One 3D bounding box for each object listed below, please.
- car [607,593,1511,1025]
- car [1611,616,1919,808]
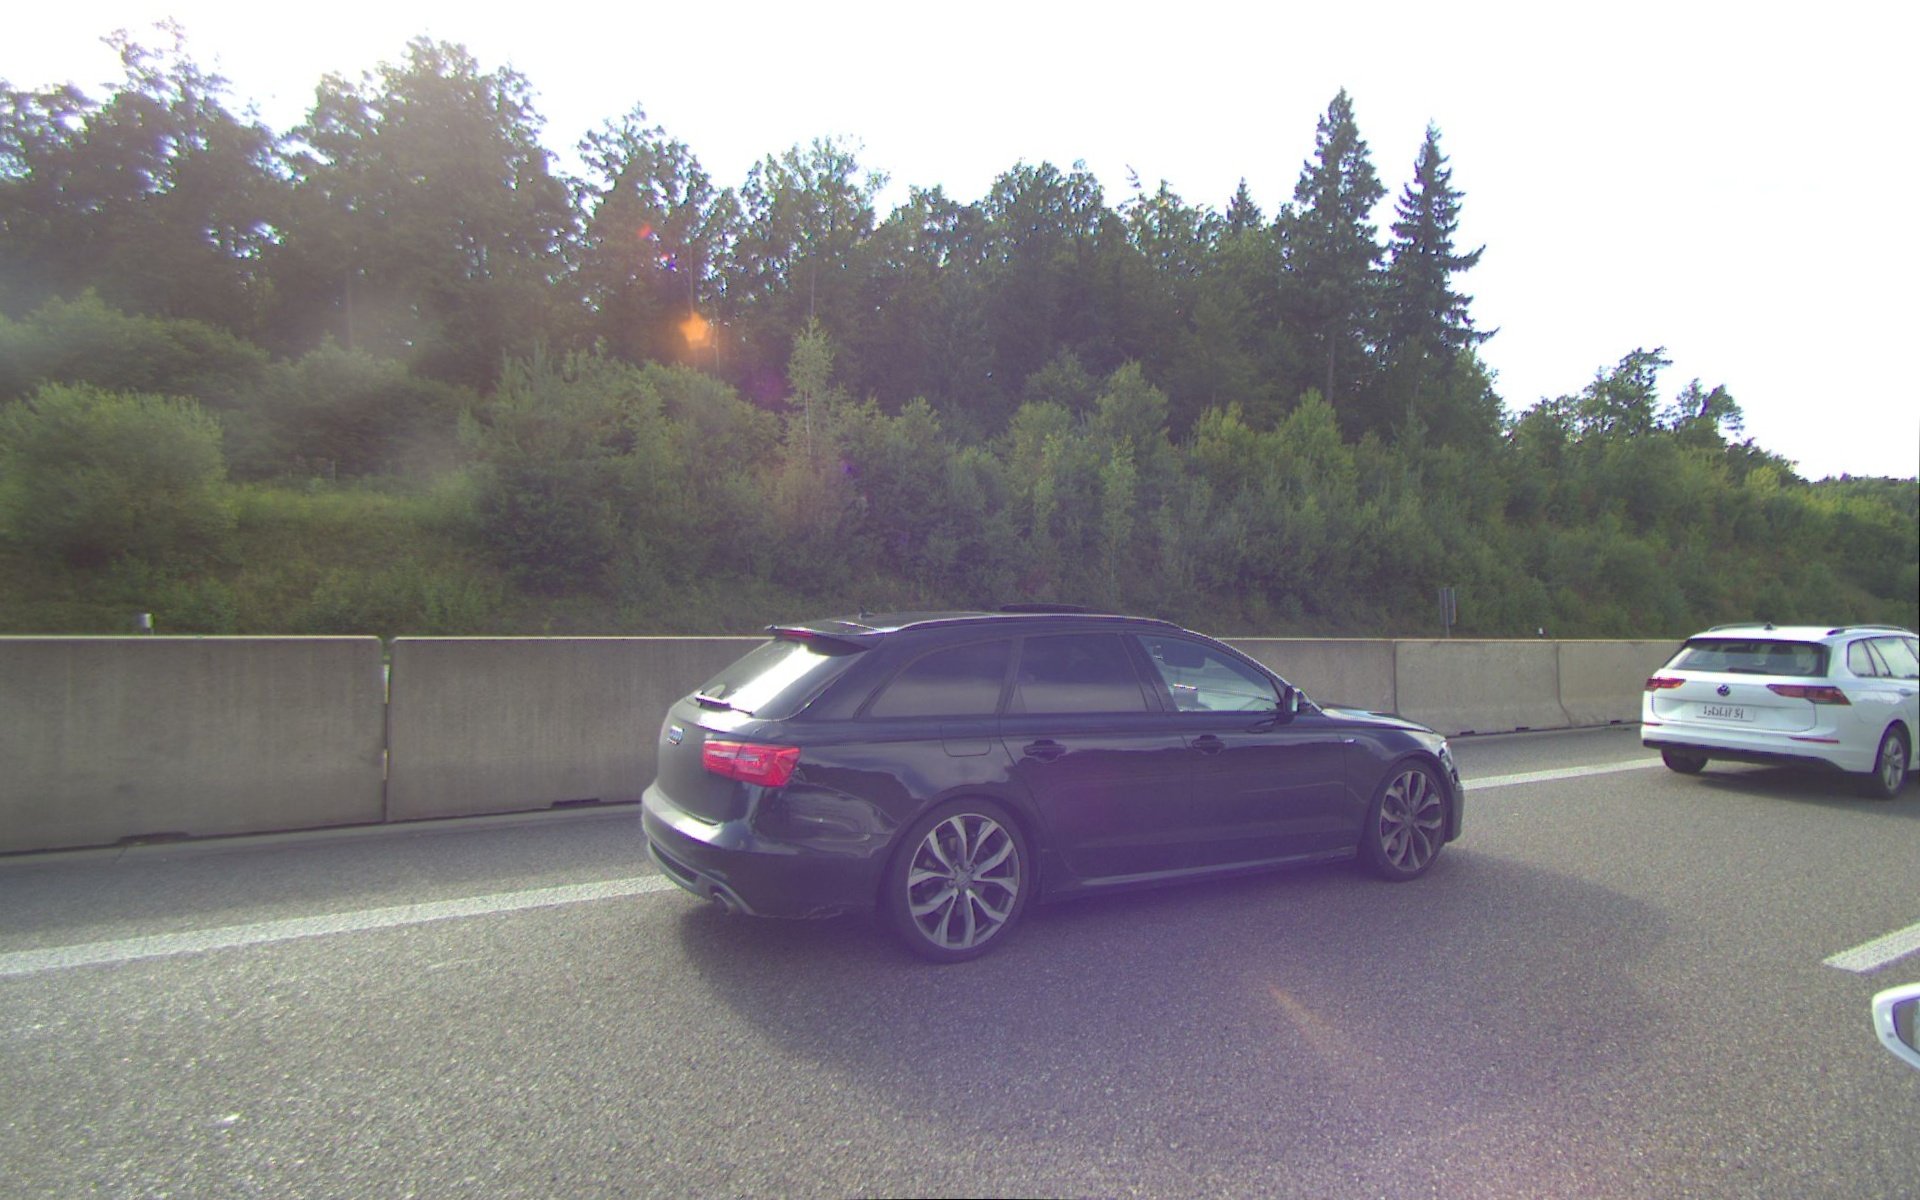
[{"bbox_3d":[0.709,0.760,5.434,4.692,1.475,1.834,1,0,-30],"label":"car"},{"bbox_3d":[8.436,0.959,9.743,4.257,1.480,1.796,2,-1,-30],"label":"car"}]
